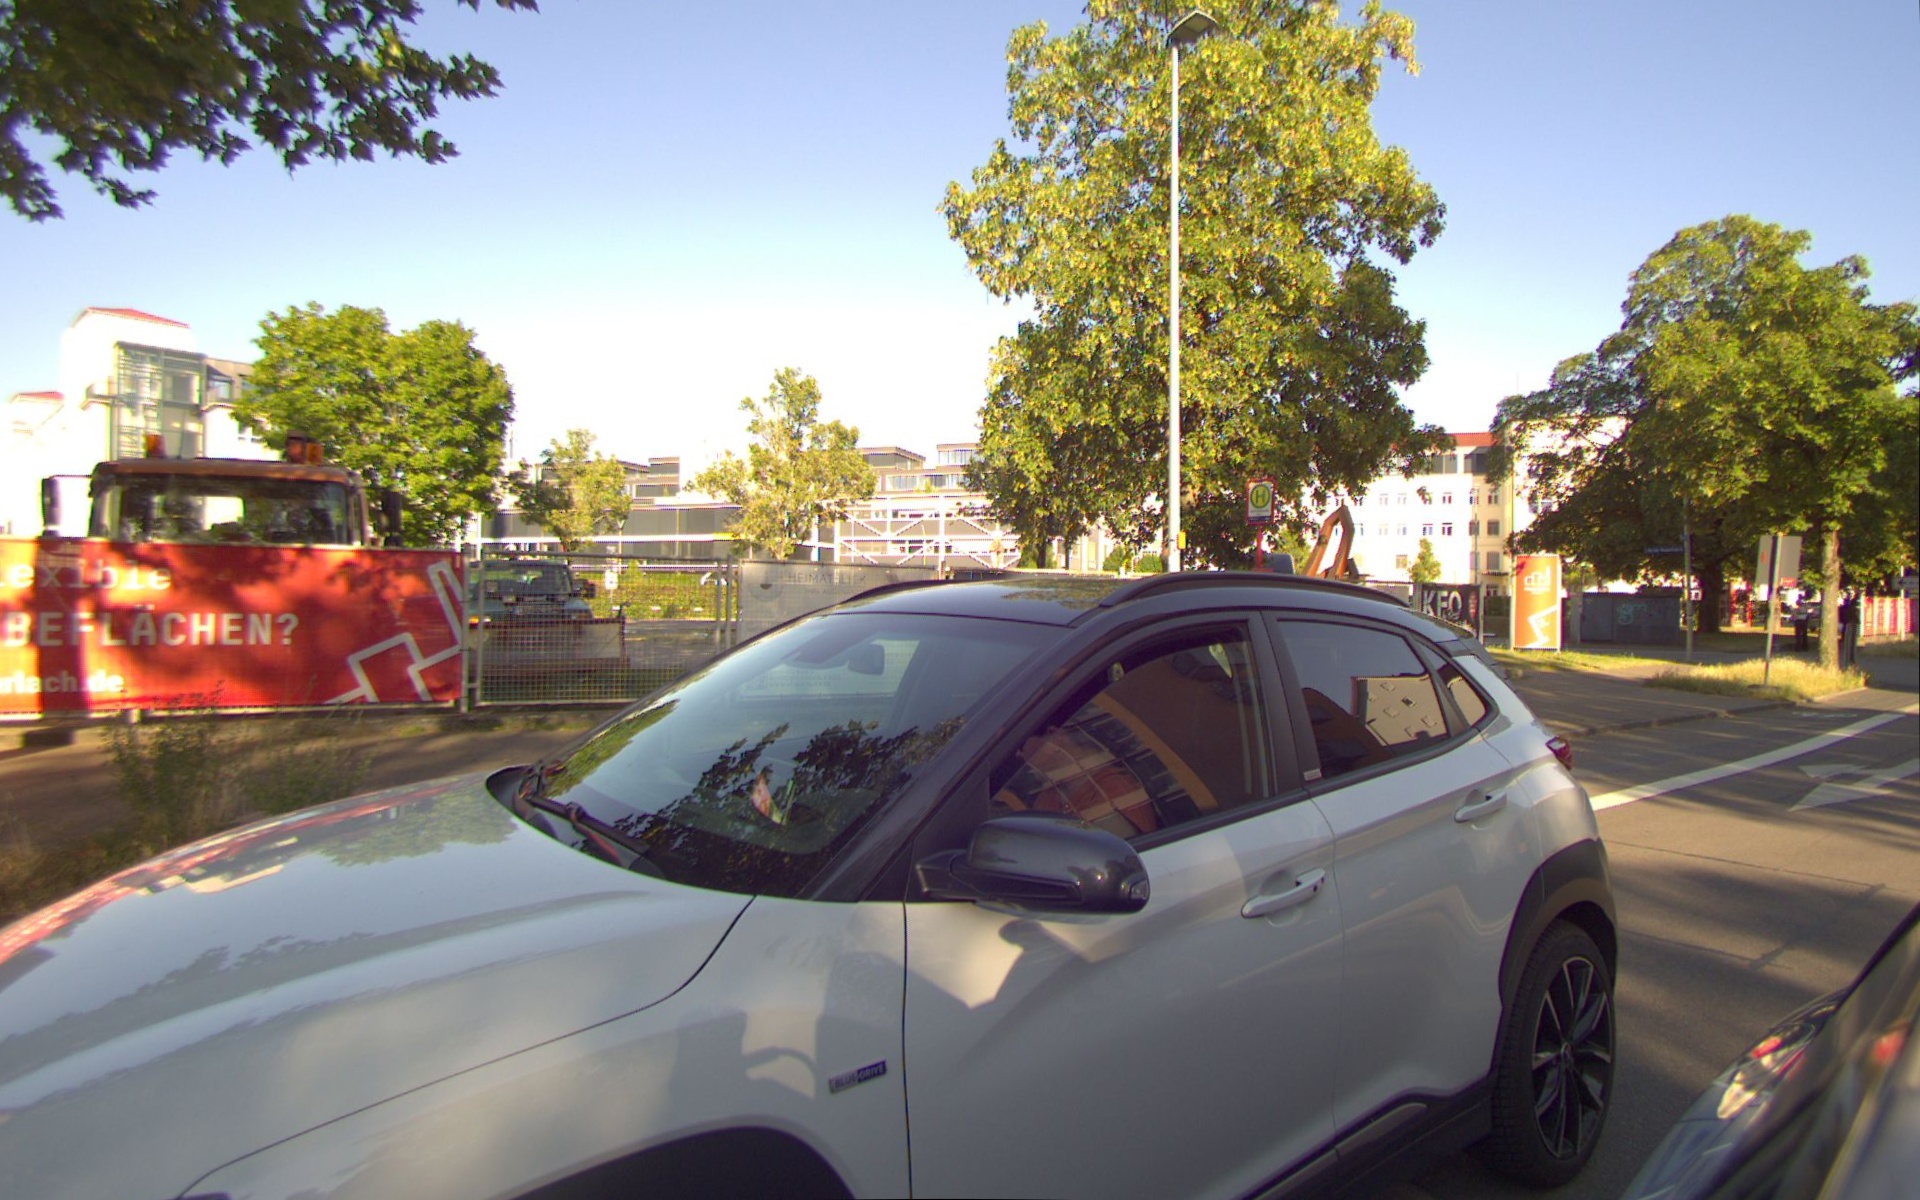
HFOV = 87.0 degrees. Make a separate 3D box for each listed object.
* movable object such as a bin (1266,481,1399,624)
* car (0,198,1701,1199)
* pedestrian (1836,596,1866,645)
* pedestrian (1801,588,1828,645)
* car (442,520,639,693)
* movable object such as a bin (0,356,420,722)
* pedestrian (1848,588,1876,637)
[{"bbox_3d":[15.523,-1.881,42.764,3.910,5.547,6.022,0,0,6],"label":"movable object such as a bin"},{"bbox_3d":[0.031,0.599,2.415,3.893,1.618,1.894,3,-2,-39],"label":"car"},{"bbox_3d":[27.241,0.615,30.939,0.627,1.452,0.609,0,0,-40],"label":"pedestrian"},{"bbox_3d":[26.859,0.504,31.825,0.607,1.759,0.629,0,0,44],"label":"pedestrian"},{"bbox_3d":[-5.667,0.045,13.296,2.001,1.851,4.612,0,0,-28],"label":"car"},{"bbox_3d":[-8.391,-0.547,12.057,3.154,3.087,6.295,0,0,-31],"label":"movable object such as a bin"},{"bbox_3d":[31.354,0.433,35.187,0.628,1.689,0.694,0,0,-44],"label":"pedestrian"}]
